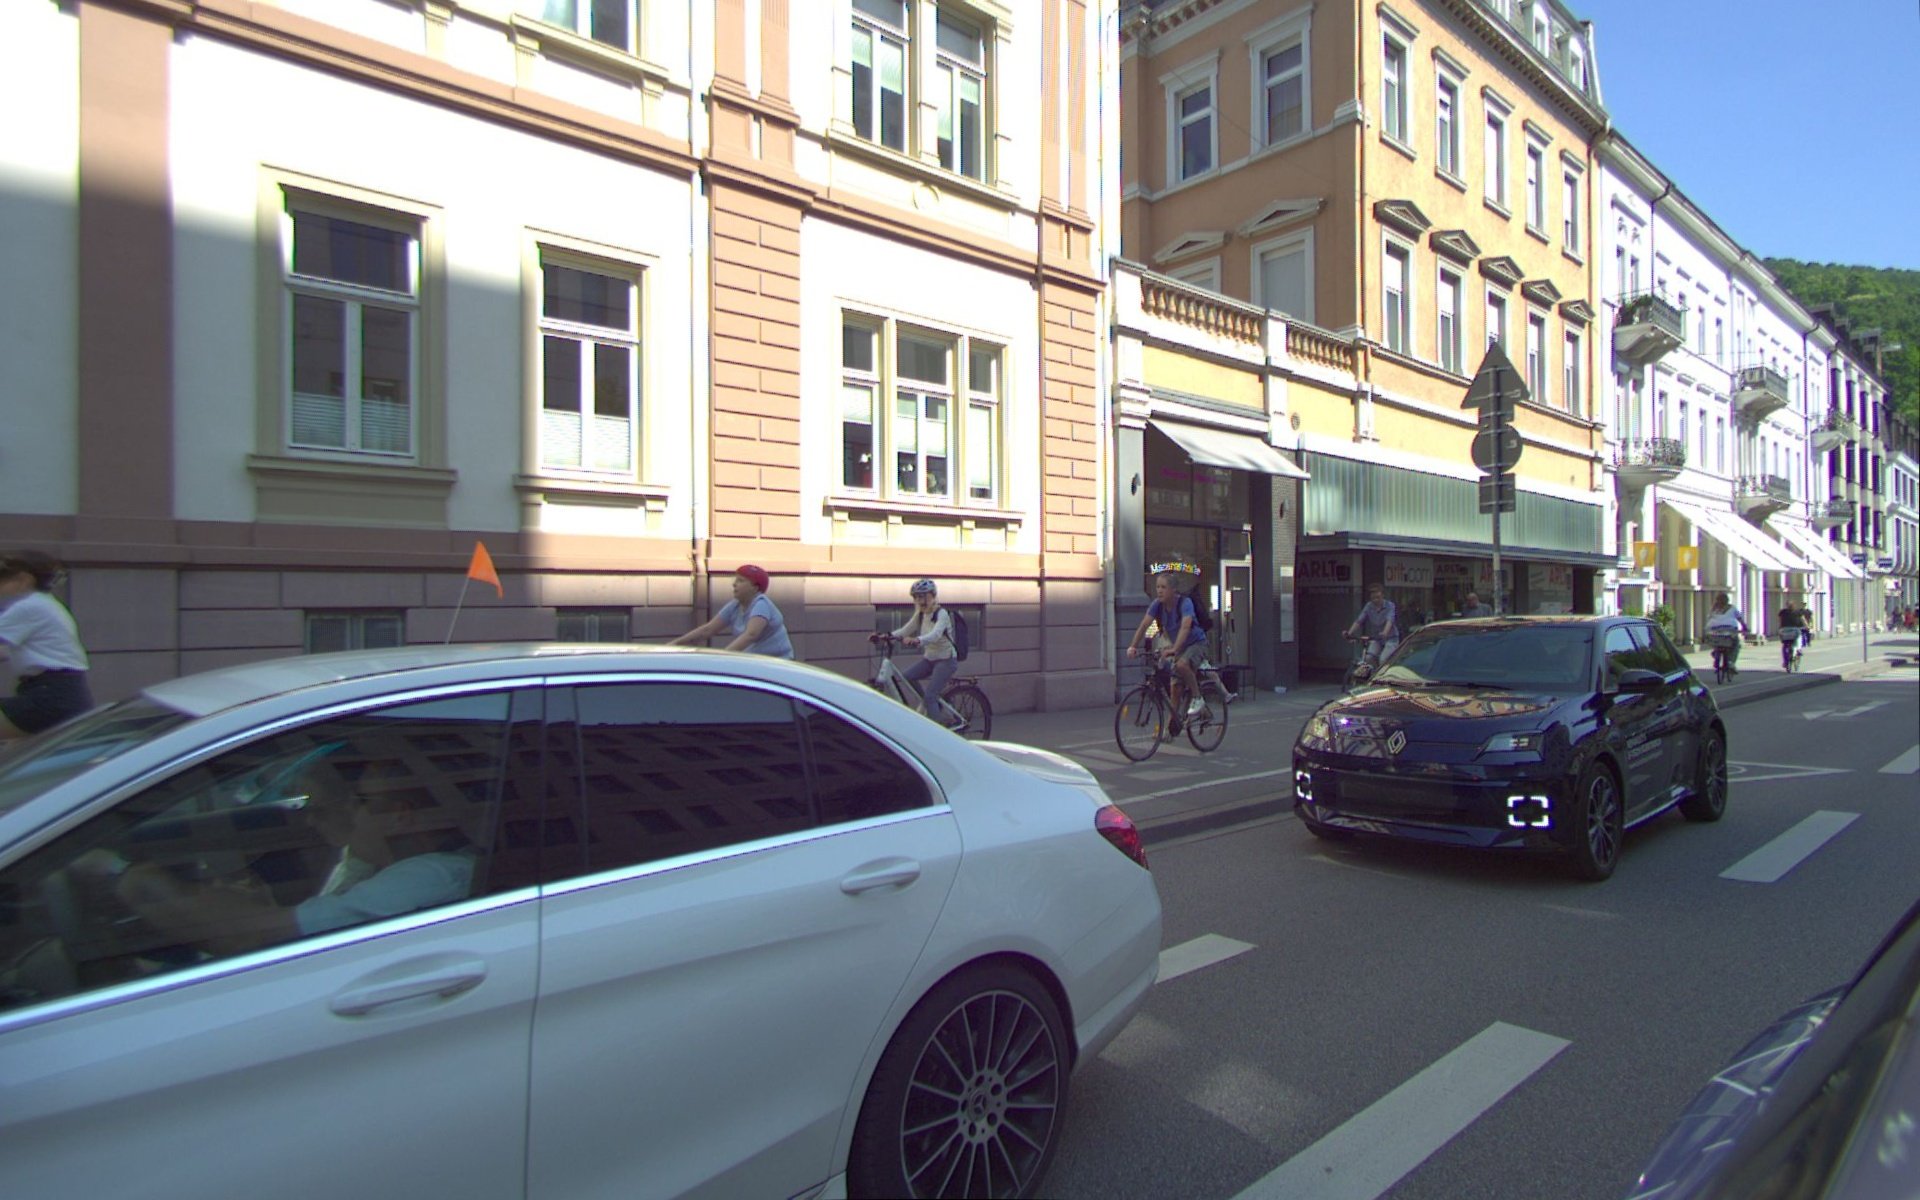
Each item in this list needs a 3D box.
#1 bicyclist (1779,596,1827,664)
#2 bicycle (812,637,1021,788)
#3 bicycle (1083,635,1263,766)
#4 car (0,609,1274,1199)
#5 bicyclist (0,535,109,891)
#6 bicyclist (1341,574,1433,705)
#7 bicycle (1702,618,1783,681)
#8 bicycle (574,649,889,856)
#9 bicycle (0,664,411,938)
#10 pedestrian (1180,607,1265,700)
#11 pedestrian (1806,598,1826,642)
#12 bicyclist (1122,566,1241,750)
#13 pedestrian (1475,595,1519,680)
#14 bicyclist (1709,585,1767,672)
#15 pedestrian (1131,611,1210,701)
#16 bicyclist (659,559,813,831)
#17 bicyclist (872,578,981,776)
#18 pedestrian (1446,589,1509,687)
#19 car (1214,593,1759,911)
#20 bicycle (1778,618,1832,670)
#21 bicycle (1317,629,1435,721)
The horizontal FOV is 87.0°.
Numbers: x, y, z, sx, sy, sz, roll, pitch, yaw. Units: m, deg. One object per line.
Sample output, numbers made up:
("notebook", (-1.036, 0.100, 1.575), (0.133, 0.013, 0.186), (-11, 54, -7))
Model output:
("bicyclist", (20.268, 0.698, 24.336), (0.829, 1.593, 0.747), (0, 0, -39))
("bicycle", (-0.354, 0.932, 8.924), (1.826, 1.141, 0.607), (0, 1, -39))
("bicycle", (2.143, 0.941, 10.045), (1.955, 1.132, 0.664), (0, 0, -39))
("car", (-1.494, 0.780, 2.262), (4.801, 1.443, 1.955), (0, -3, -41))
("bicyclist", (-4.611, 0.492, 4.762), (0.829, 1.593, 0.747), (4, -1, -39))
("bicyclist", (5.901, 0.513, 13.996), (0.830, 1.739, 0.909), (0, 0, -41))
("bicycle", (16.128, 0.984, 20.831), (2.527, 1.141, 0.743), (0, 1, -39))
("bicycle", (-1.529, 0.962, 6.996), (1.997, 1.141, 0.737), (0, 1, -39))
("bicycle", (-4.500, 0.936, 4.853), (3.181, 1.141, 0.750), (1, 0, -39))
("pedestrian", (4.069, 0.810, 15.703), (0.614, 1.332, 1.088), (1, 2, -40))
("pedestrian", (33.484, 0.781, 39.581), (0.853, 1.690, 0.482), (1, -1, -41))
("bicyclist", (2.209, 0.540, 10.111), (0.829, 1.739, 0.840), (0, 0, -39))
("pedestrian", (11.043, 0.751, 20.805), (0.829, 1.686, 0.522), (0, 0, -40))
("bicyclist", (15.865, 0.560, 20.633), (1.017, 1.724, 0.747), (0, 0, -40))
("pedestrian", (3.245, 0.839, 15.647), (0.614, 1.333, 1.031), (1, 0, -41))
("bicyclist", (-1.554, 0.606, 7.013), (0.829, 1.739, 0.684), (0, 0, -39))
("bicyclist", (-0.294, 0.643, 8.975), (0.829, 1.657, 0.516), (0, 0, -40))
("pedestrian", (9.855, 0.706, 19.289), (0.754, 1.814, 0.840), (0, 0, -39))
("car", (3.831, 0.771, 7.034), (4.216, 1.511, 1.888), (-1, -3, -41))
("bicycle", (20.443, 1.038, 24.471), (2.056, 1.141, 0.596), (-1, 1, -39))
("bicycle", (5.795, 0.997, 14.040), (1.885, 1.132, 0.748), (1, 1, -42))
